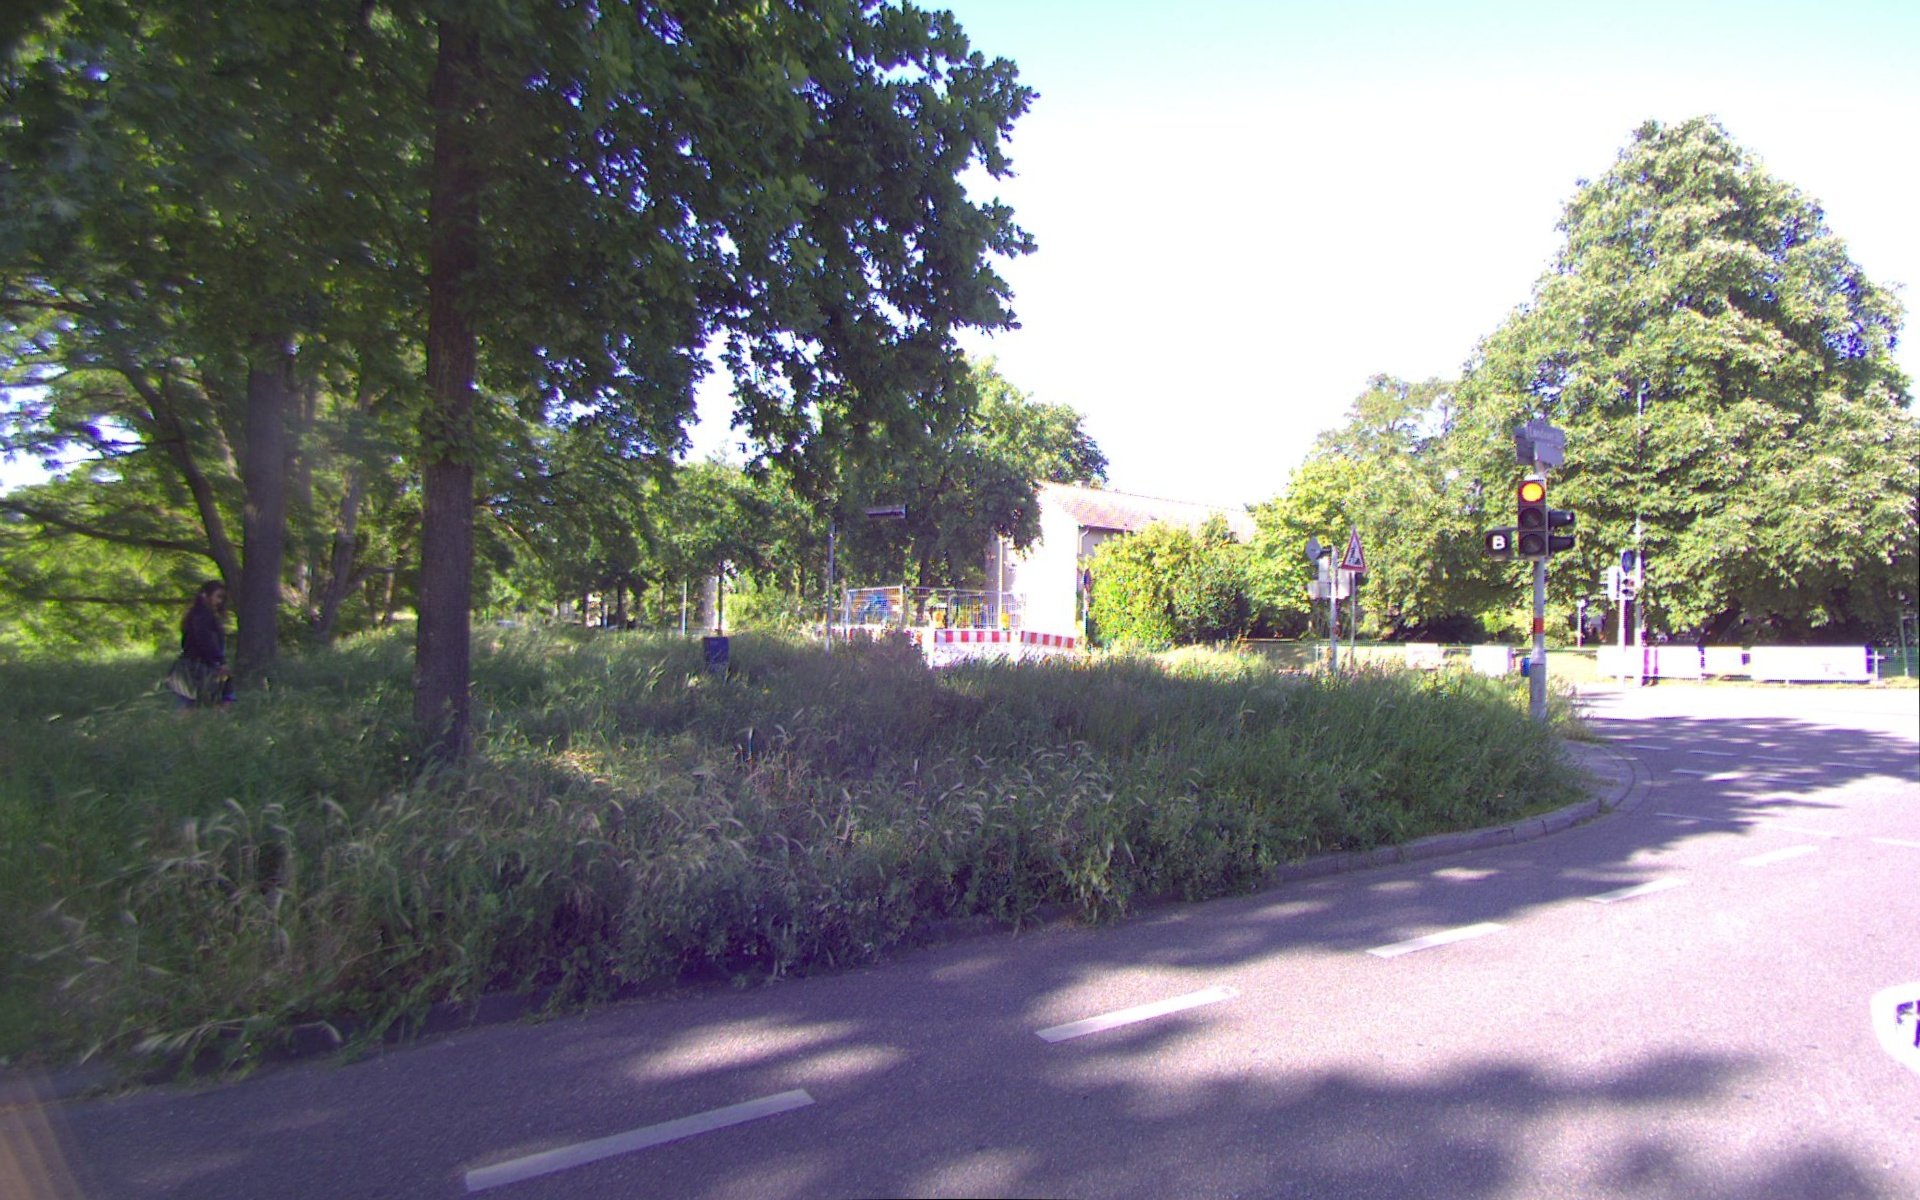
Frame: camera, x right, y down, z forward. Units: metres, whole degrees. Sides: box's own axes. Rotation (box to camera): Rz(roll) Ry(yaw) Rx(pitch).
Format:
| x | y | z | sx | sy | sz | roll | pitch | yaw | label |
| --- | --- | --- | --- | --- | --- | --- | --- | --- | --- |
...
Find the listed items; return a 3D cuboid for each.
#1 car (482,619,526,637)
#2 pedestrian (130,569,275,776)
| x | y | z | sx | sy | sz | roll | pitch | yaw | label |
| --- | --- | --- | --- | --- | --- | --- | --- | --- | --- |
| -47.394 | 2.894 | 104.477 | 3.939 | 1.673 | 1.991 | 2 | 0 | -20 | car |
| -6.647 | 0.600 | 8.873 | 0.880 | 1.710 | 0.909 | 1 | 0 | -29 | pedestrian |
